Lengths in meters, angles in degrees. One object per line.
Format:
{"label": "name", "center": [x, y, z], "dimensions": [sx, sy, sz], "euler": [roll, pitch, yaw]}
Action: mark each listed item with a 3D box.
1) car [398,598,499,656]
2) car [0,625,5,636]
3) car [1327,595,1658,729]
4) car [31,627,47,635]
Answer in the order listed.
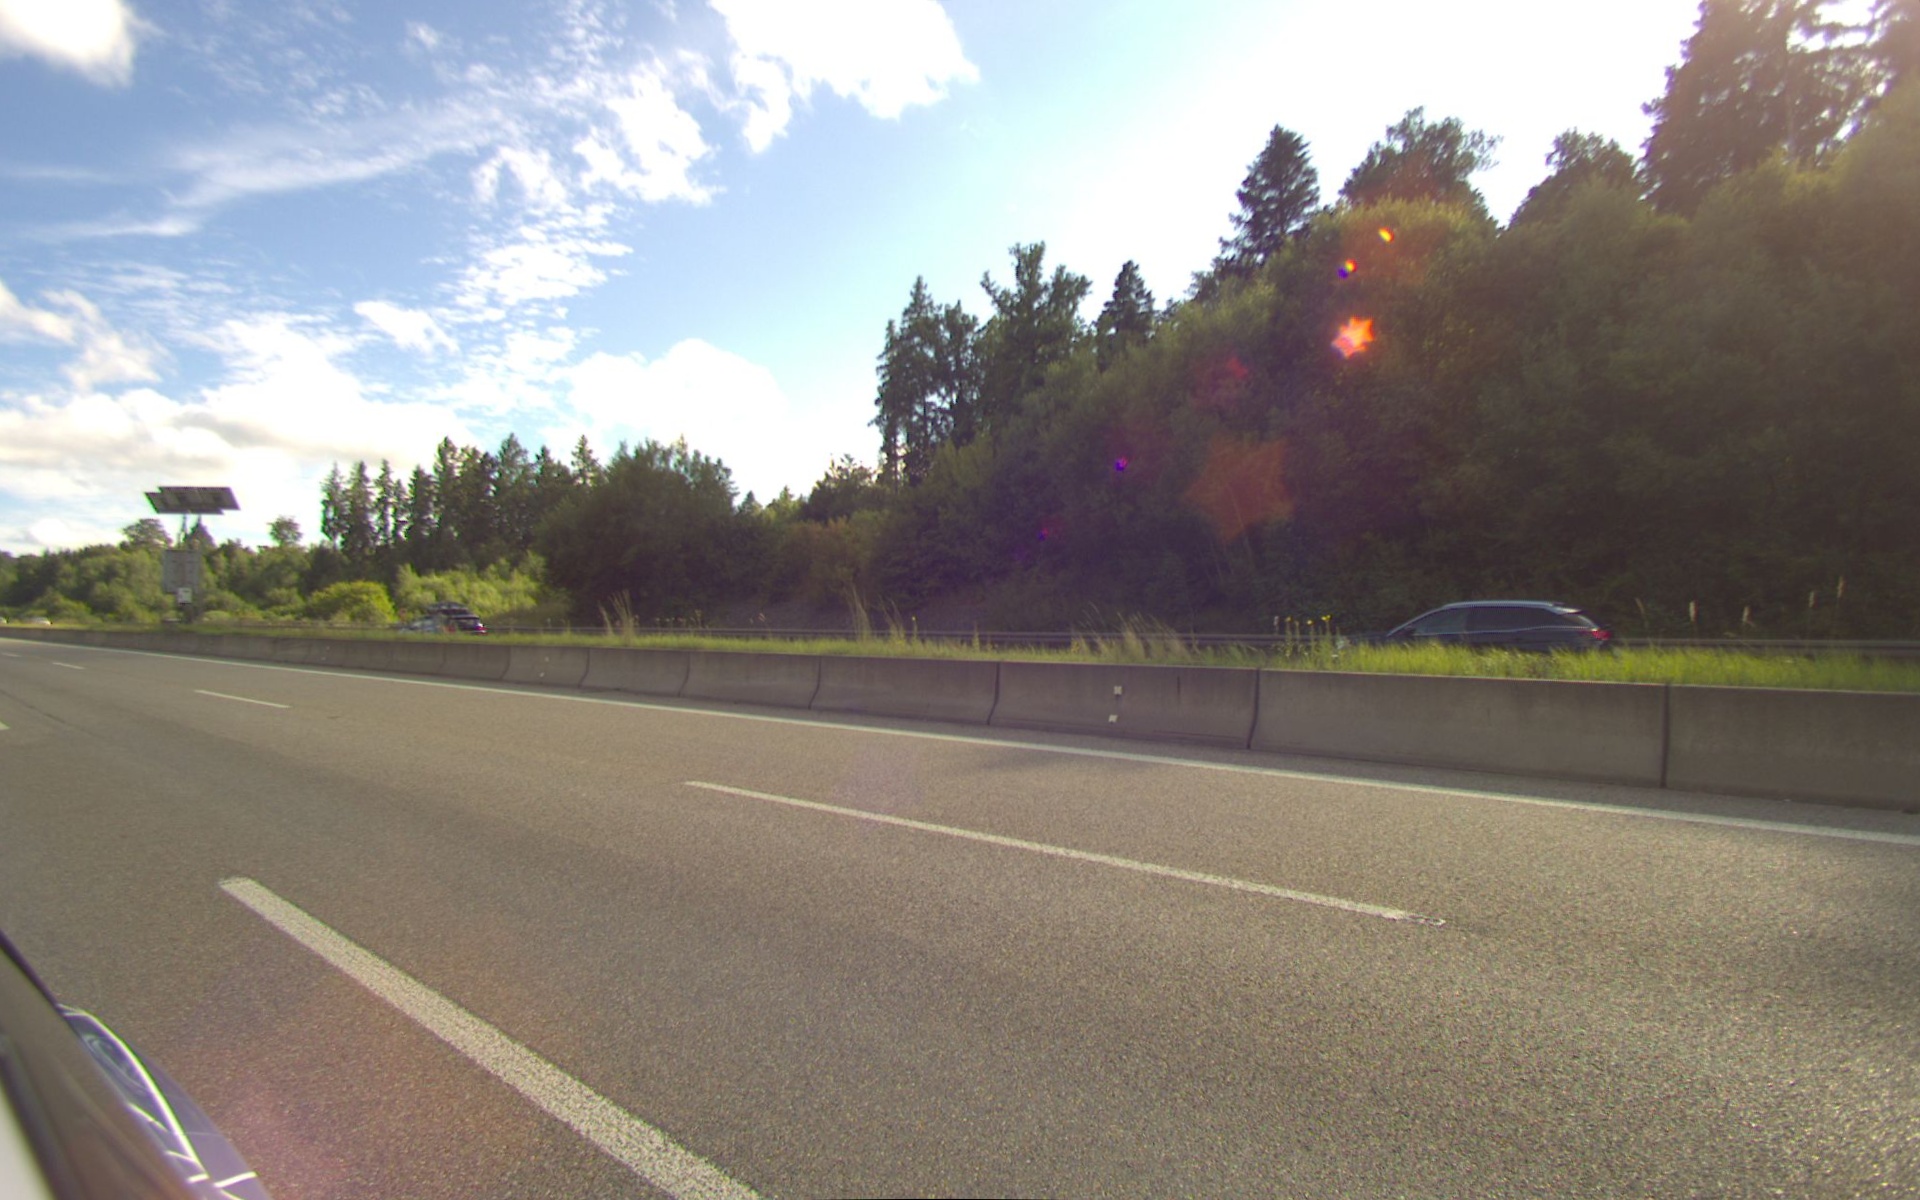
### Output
{"label": "car", "center": [-18.924, 0.978, 37.385], "dimensions": [4.070, 2.029, 1.973], "euler": [-1, -1, 41]}
{"label": "car", "center": [-151.415, 4.786, 158.860], "dimensions": [4.492, 1.819, 1.904], "euler": [-1, -1, 42]}
{"label": "car", "center": [8.555, 0.917, 16.485], "dimensions": [4.435, 1.895, 1.973], "euler": [-1, -1, 41]}
{"label": "car", "center": [-137.625, 4.586, 151.221], "dimensions": [3.172, 1.102, 1.575], "euler": [-1, -1, 42]}
